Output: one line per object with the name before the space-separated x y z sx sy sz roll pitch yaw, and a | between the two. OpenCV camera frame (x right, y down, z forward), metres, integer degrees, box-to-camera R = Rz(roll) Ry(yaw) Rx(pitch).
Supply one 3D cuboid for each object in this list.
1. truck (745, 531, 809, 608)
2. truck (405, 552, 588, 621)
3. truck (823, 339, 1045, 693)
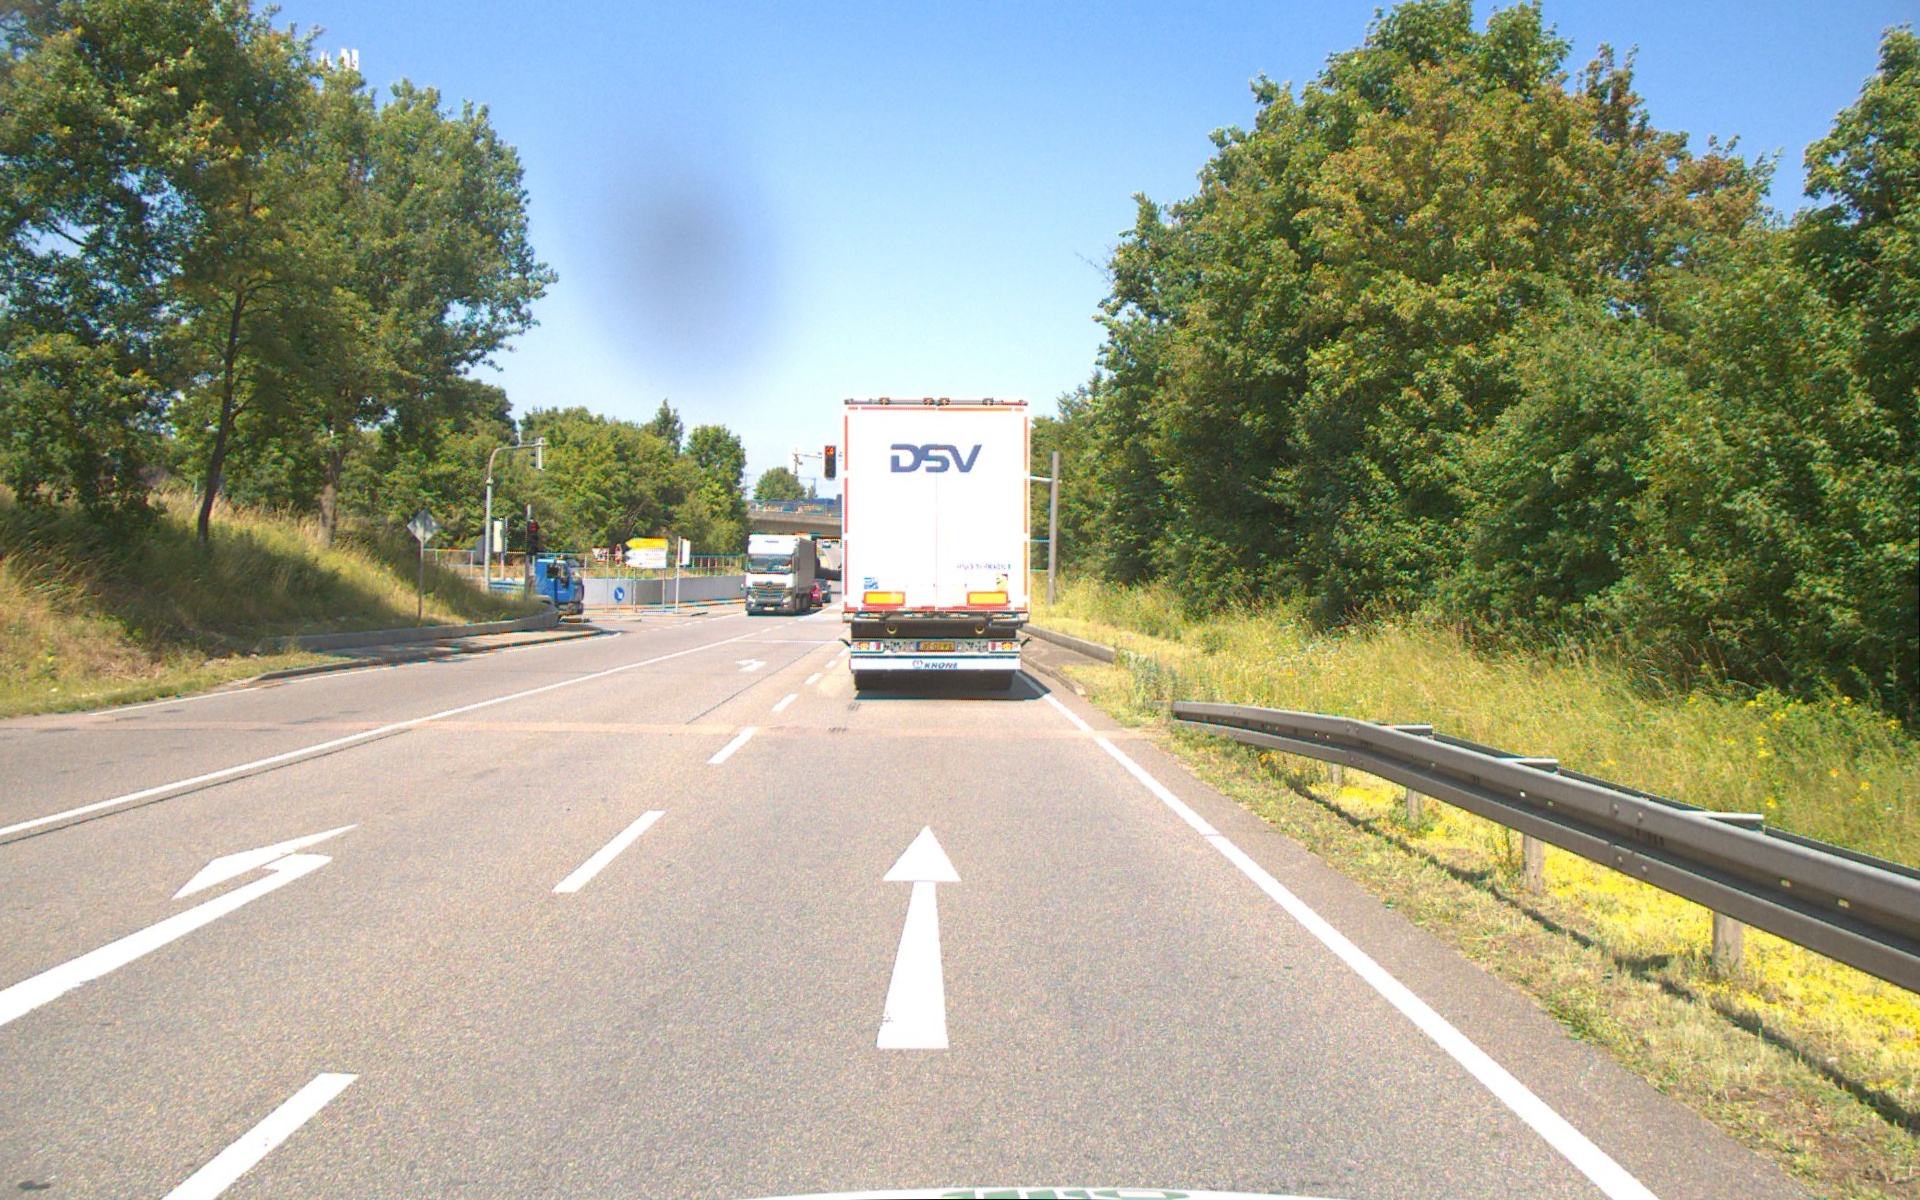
truck | -9.677 -1.596 88.587 2.305 3.815 12.623 0 1 -1
truck | -17.870 -0.518 64.099 6.280 2.543 2.714 1 0 -1
truck | -0.510 -1.140 26.727 2.890 4.648 9.859 0 0 -2
